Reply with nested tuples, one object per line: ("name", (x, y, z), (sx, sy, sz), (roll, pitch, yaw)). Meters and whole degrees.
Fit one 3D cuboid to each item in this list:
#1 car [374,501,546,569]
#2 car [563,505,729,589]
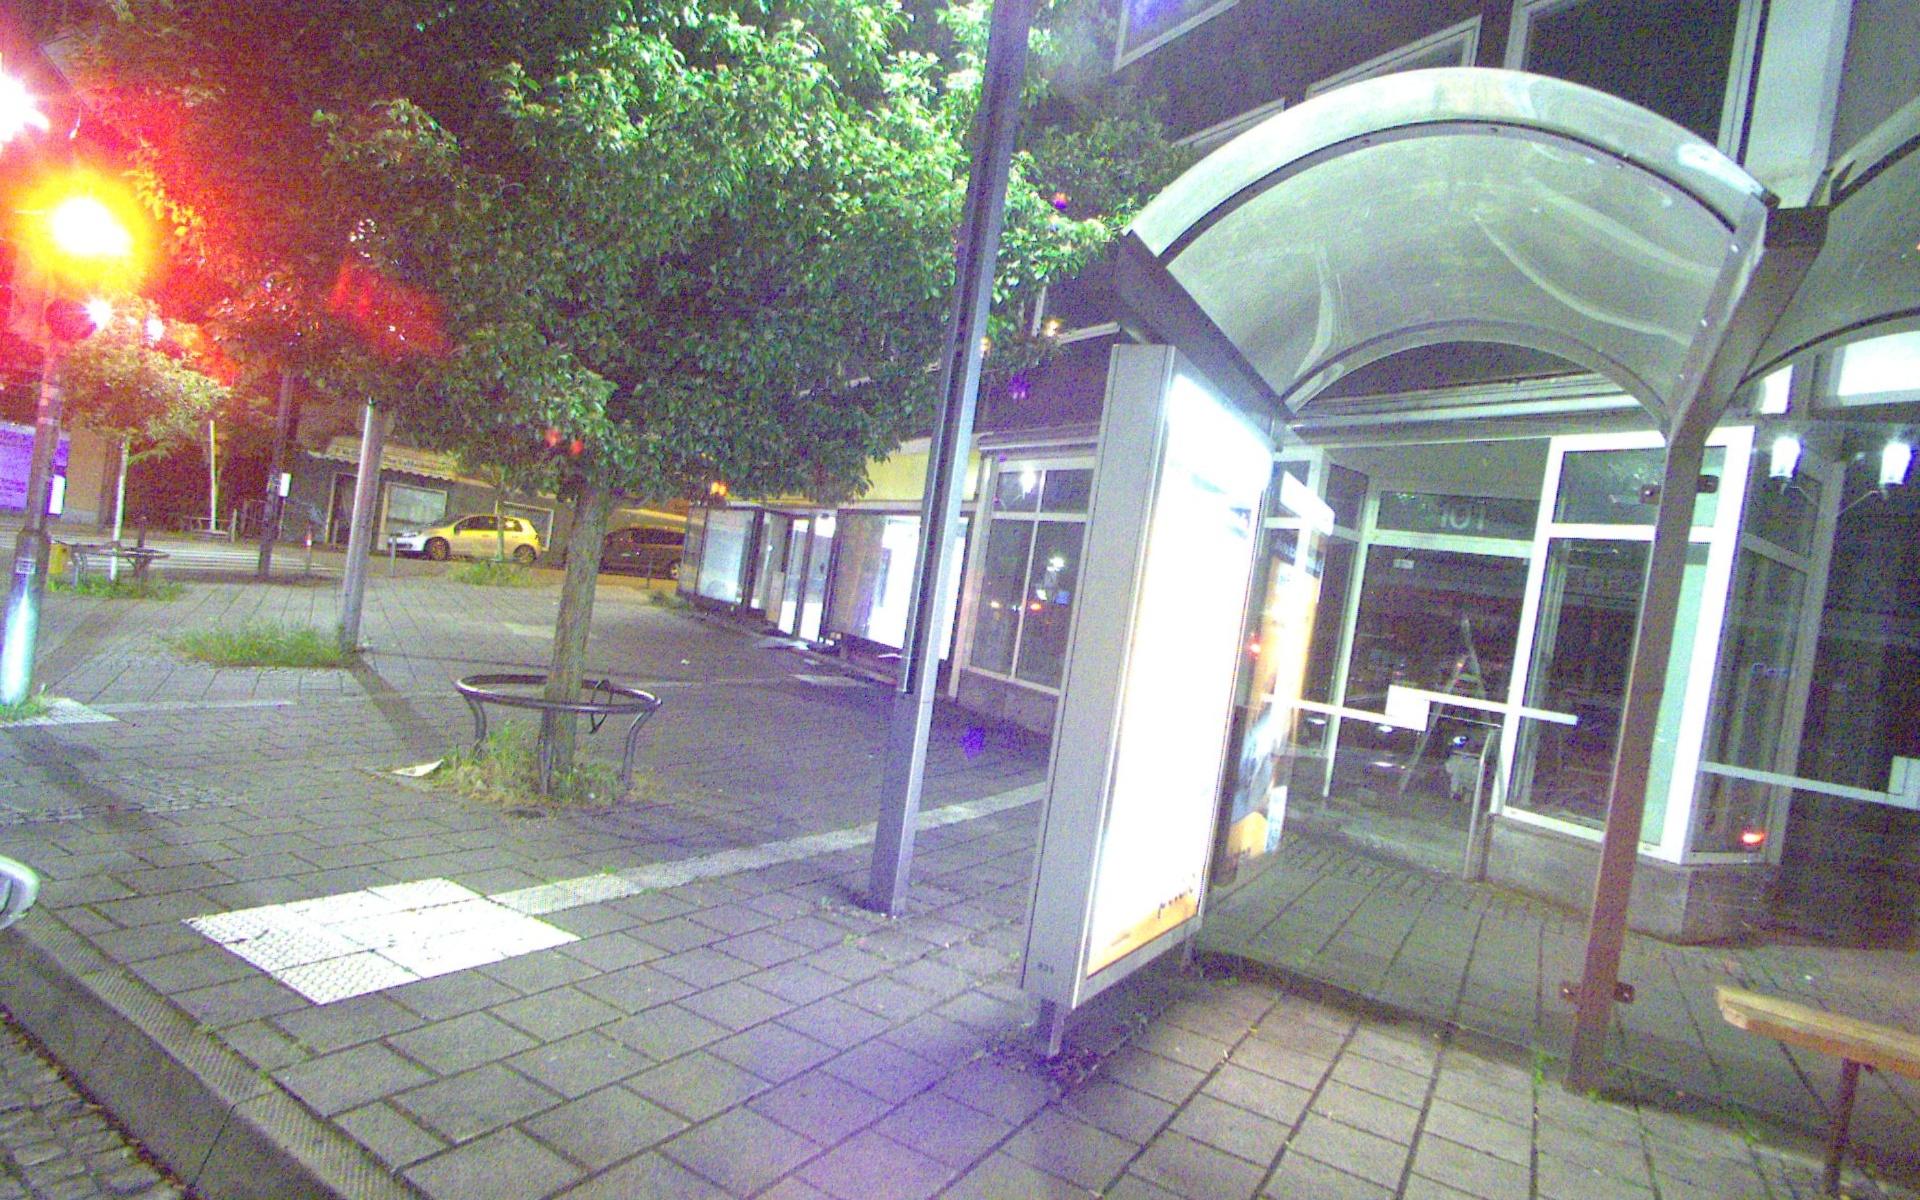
("car", (-14.456, -1.846, 29.250), (1.798, 1.472, 4.036), (8, 2, 38))
("car", (-10.139, -1.633, 32.460), (4.783, 1.932, 2.148), (8, -2, -23))
